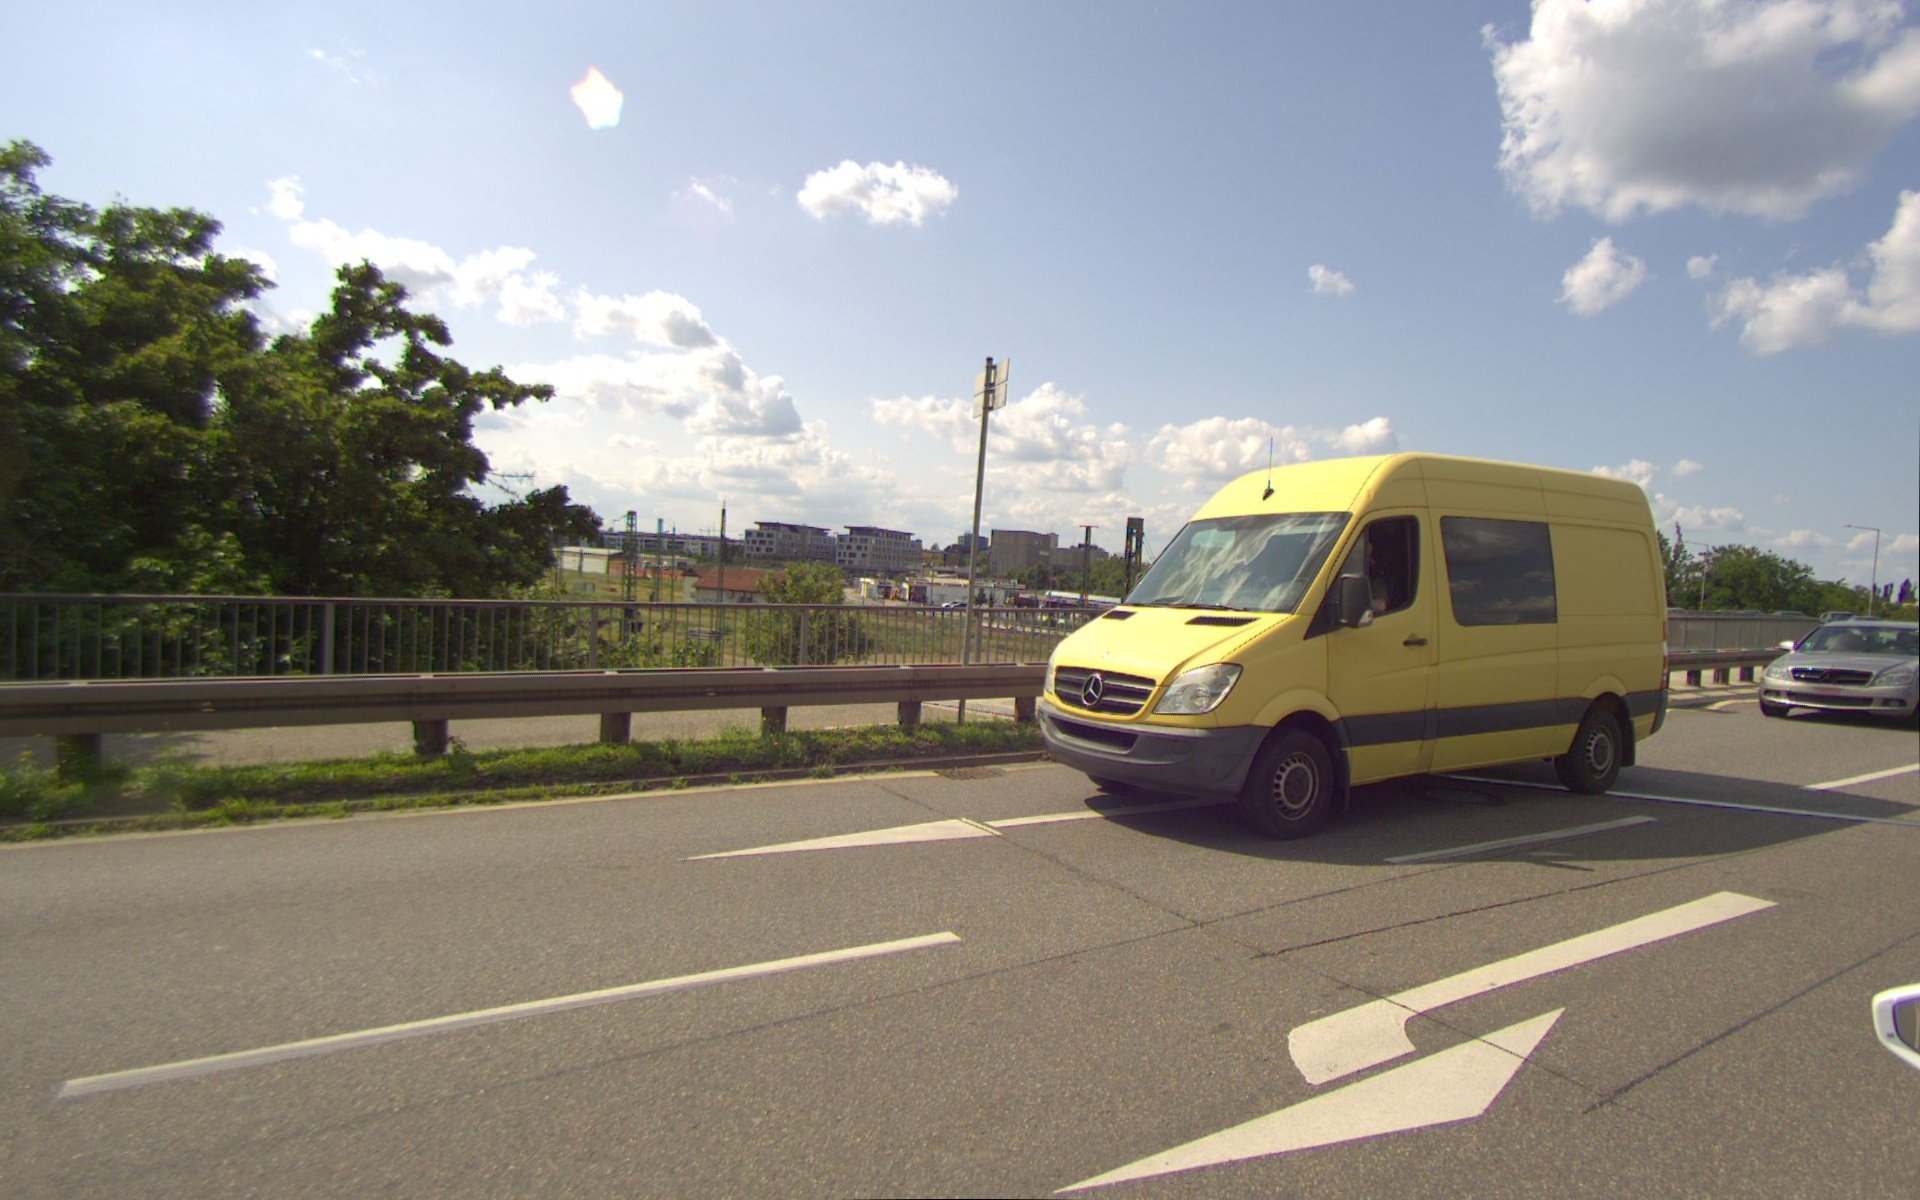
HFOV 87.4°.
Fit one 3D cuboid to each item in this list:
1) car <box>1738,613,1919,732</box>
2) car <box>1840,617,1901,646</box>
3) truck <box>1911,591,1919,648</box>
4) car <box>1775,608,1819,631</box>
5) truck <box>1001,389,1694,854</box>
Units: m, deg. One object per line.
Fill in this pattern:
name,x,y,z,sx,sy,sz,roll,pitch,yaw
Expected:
car,13.316,0.984,14.759,4.293,1.468,1.737,2,0,-34
car,55.055,1.861,60.812,1.658,1.618,4.276,1,1,28
truck,43.104,0.879,43.326,1.966,2.541,5.930,2,1,34
car,62.913,1.441,75.560,1.658,1.618,4.276,1,1,28
truck,3.396,0.166,8.161,6.033,2.656,1.983,1,0,-31
